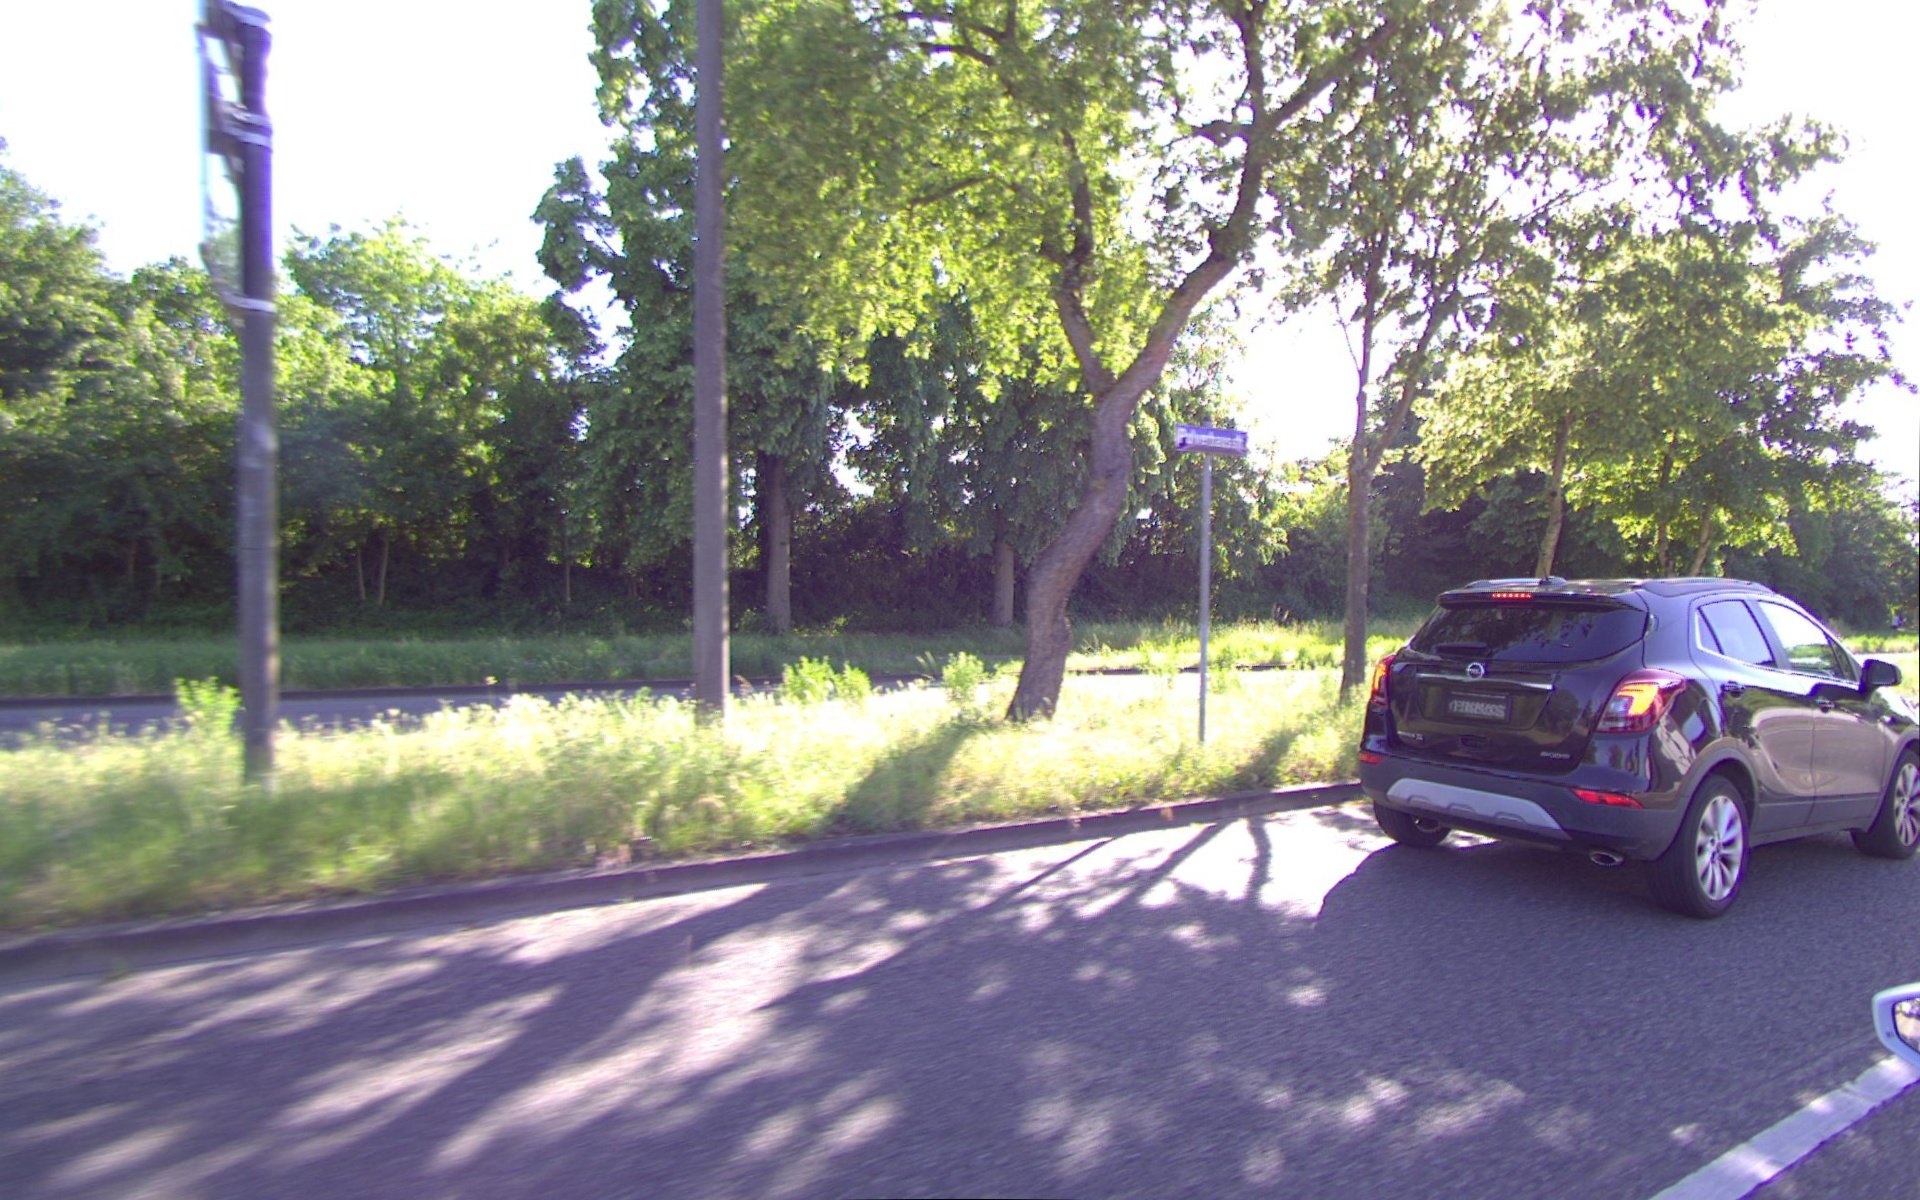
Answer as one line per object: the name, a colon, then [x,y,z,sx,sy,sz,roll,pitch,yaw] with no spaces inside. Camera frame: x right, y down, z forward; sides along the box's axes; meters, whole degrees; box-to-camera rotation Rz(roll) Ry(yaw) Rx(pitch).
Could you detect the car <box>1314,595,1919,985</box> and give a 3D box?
car: [4.337,0.831,6.168,4.367,1.654,1.687,1,1,-31]
